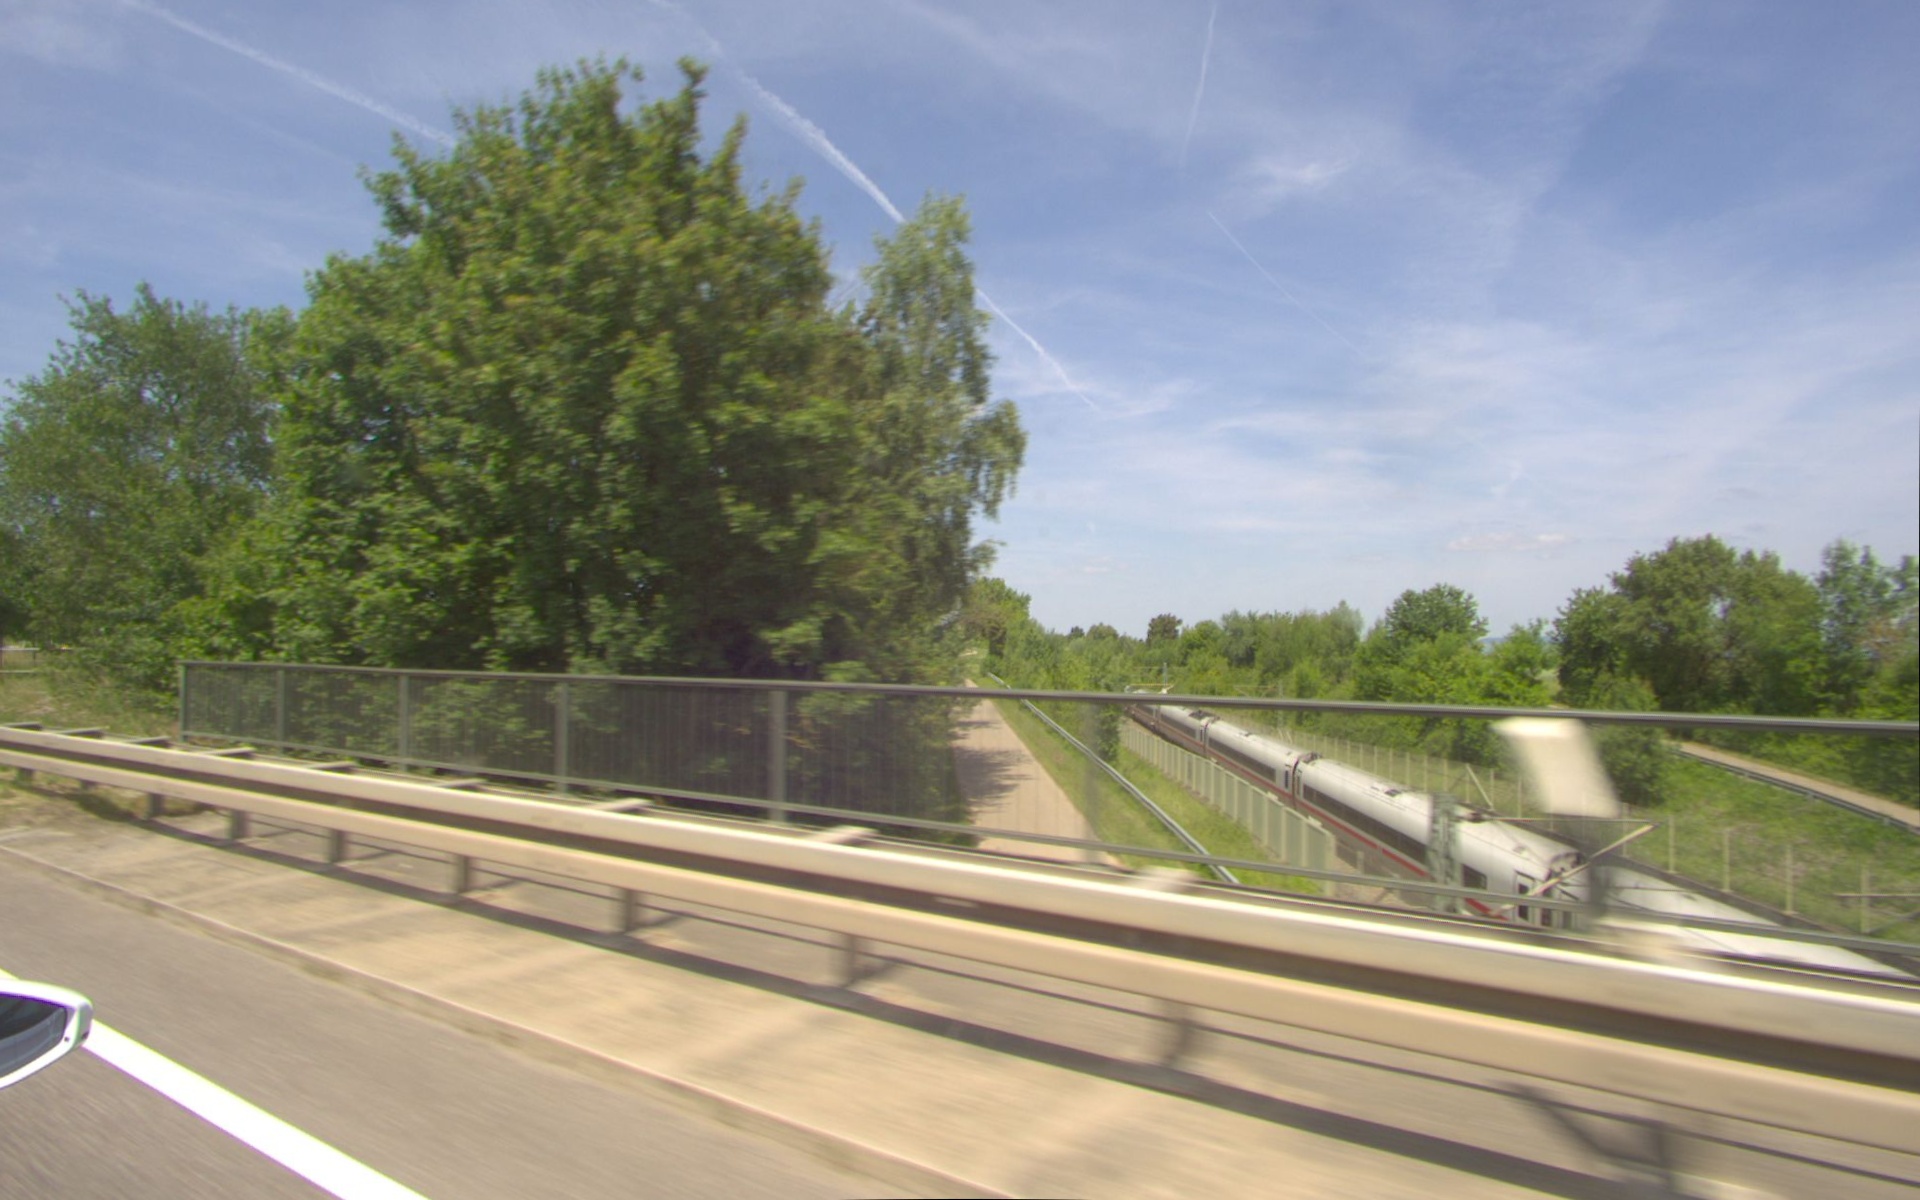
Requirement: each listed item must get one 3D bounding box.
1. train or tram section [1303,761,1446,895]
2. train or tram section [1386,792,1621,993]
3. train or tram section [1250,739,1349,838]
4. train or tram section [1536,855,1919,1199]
[{"bbox_3d":[19.980,10.815,49.352,2.504,4.283,12.460,1,-3,3],"label":"train or tram section"},{"bbox_3d":[19.282,10.143,36.907,2.504,4.283,12.460,1,-3,3],"label":"train or tram section"},{"bbox_3d":[20.628,11.320,61.818,2.504,4.283,12.460,1,-3,3],"label":"train or tram section"},{"bbox_3d":[18.616,9.700,24.470,2.504,4.283,12.460,1,-3,3],"label":"train or tram section"}]
